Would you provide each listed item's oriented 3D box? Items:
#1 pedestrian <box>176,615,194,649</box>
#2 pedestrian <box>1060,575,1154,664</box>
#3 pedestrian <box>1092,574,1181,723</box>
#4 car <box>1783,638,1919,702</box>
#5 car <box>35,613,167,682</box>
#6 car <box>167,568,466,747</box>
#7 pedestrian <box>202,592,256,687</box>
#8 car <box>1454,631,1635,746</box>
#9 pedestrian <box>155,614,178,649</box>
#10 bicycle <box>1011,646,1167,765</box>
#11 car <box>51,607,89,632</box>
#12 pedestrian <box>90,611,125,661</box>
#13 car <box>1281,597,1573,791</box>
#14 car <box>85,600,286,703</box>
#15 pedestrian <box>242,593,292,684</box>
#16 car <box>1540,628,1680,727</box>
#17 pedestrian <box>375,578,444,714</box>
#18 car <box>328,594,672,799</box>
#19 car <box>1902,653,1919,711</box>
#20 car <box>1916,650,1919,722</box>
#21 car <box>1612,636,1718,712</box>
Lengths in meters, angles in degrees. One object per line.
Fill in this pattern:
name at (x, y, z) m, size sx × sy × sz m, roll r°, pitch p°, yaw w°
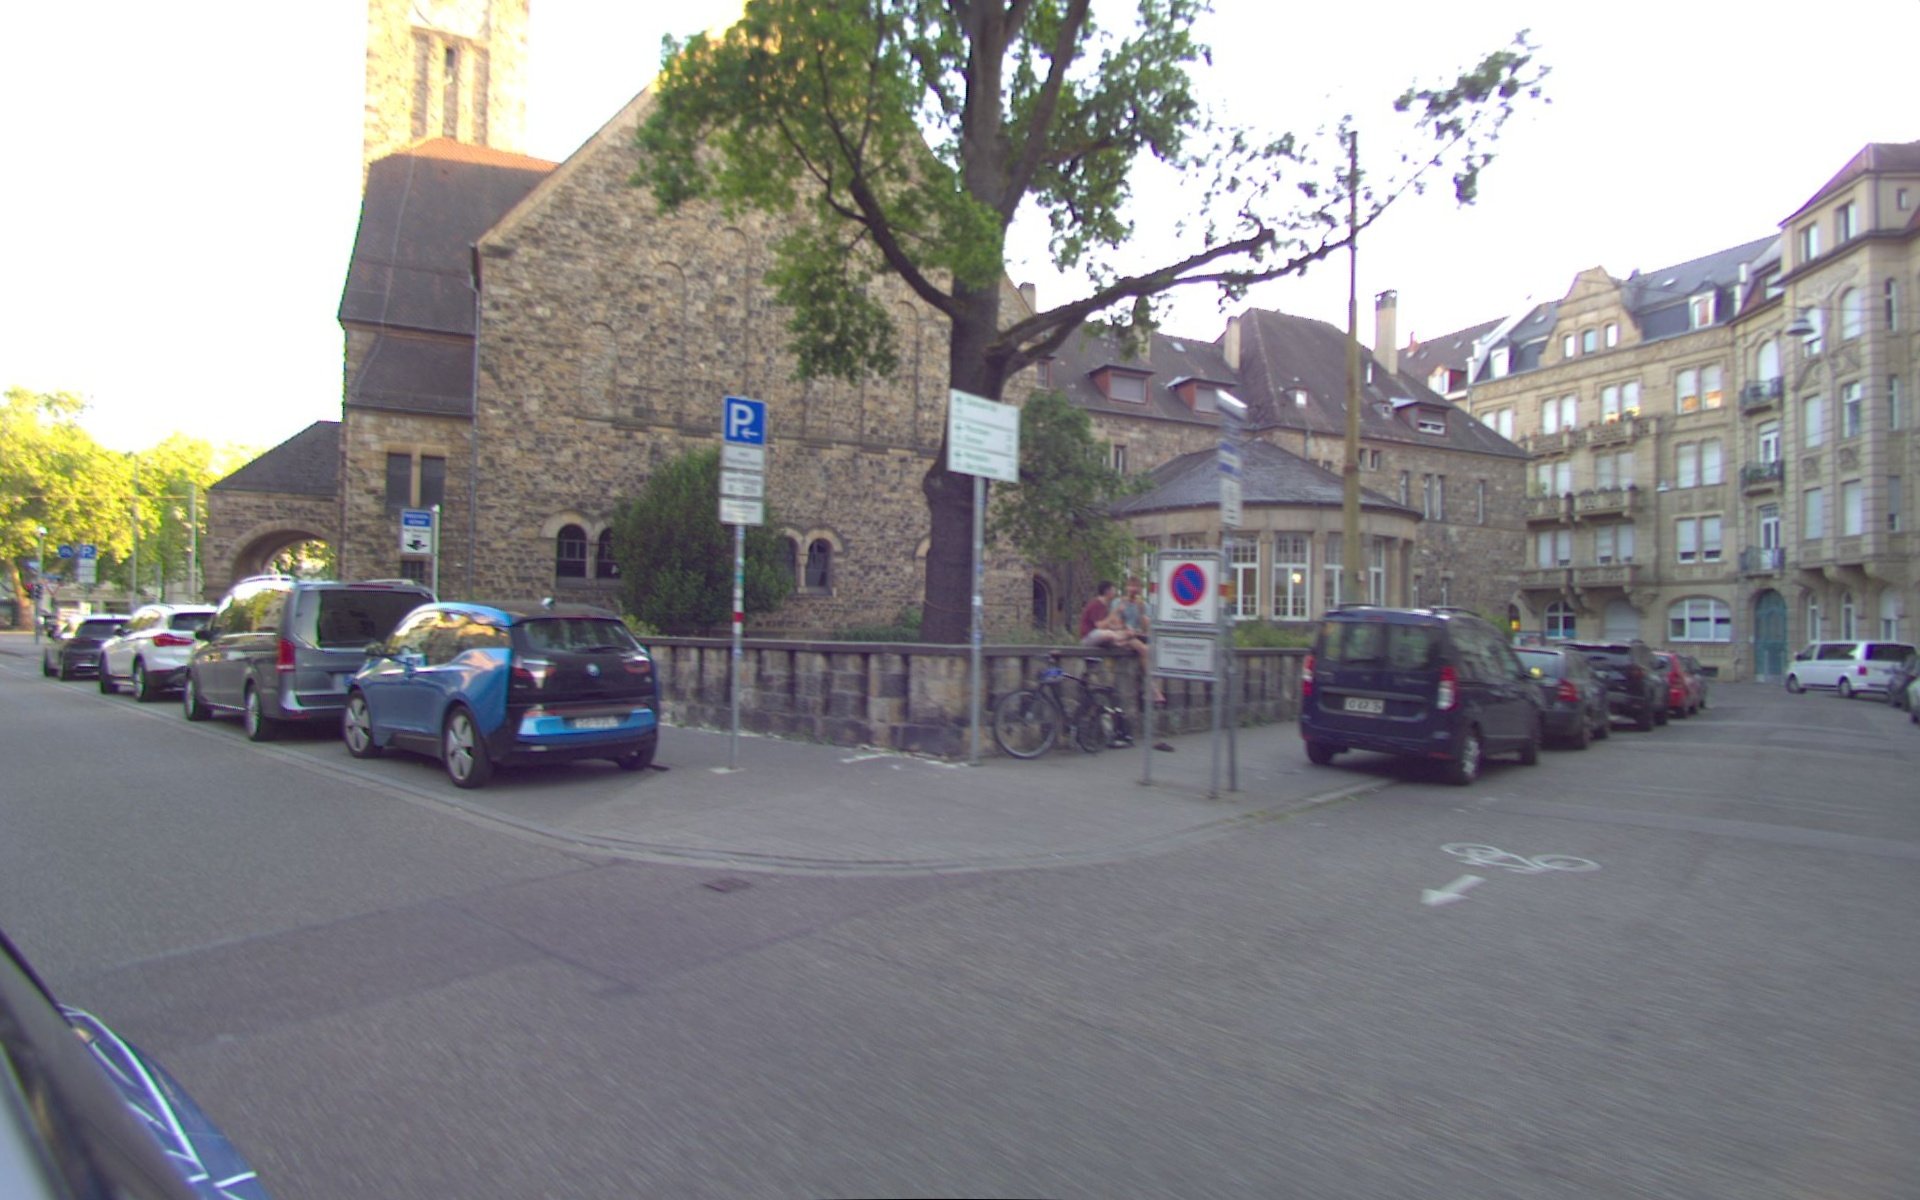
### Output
pedestrian at (-33.203, 1.374, 43.348) m, size 0.395 × 1.417 × 0.549 m, roll 1°, pitch -2°, yaw -14°
pedestrian at (1.714, 0.230, 11.773) m, size 0.836 × 0.988 × 0.699 m, roll -1°, pitch -3°, yaw 39°
pedestrian at (2.148, 0.580, 12.307) m, size 0.836 × 1.734 × 0.699 m, roll -1°, pitch -3°, yaw 39°
car at (30.171, 2.290, 34.170) m, size 1.793 × 1.874 × 5.139 m, roll 2°, pitch -1°, yaw 17°
car at (-19.724, 1.046, 23.170) m, size 4.315 × 1.446 × 1.764 m, roll -1°, pitch -3°, yaw 43°
car at (-8.543, 0.663, 13.192) m, size 5.289 × 1.881 × 1.972 m, roll -1°, pitch -2°, yaw 43°
pedestrian at (-15.105, 0.808, 20.917) m, size 0.890 × 1.894 × 0.640 m, roll -1°, pitch -2°, yaw 38°
car at (9.122, 1.271, 15.646) m, size 1.720 × 1.511 × 4.156 m, roll -1°, pitch -2°, yaw 40°
pedestrian at (-33.747, 1.343, 43.044) m, size 0.541 × 1.464 × 0.559 m, roll 1°, pitch -2°, yaw -14°
bicycle at (1.425, 1.066, 10.793) m, size 0.555 × 1.142 × 2.116 m, roll -1°, pitch -3°, yaw 42°
car at (-75.186, 1.649, 85.515) m, size 1.837 × 2.029 × 3.820 m, roll 2°, pitch -2°, yaw -34°
pedestrian at (-30.239, 1.276, 35.898) m, size 0.689 × 1.738 × 0.708 m, roll 0°, pitch -2°, yaw 31°
car at (5.539, 0.980, 11.773) m, size 1.892 × 1.858 × 3.942 m, roll -1°, pitch -3°, yaw 44°
car at (-13.775, 0.857, 17.912) m, size 4.464 × 1.604 × 1.852 m, roll -1°, pitch -2°, yaw 40°
pedestrian at (-14.758, 0.812, 21.554) m, size 0.987 × 1.870 × 0.567 m, roll -1°, pitch -2°, yaw 38°
car at (12.481, 1.393, 19.313) m, size 1.720 × 1.665 × 4.156 m, roll -1°, pitch -2°, yaw 40°
pedestrian at (-8.040, 0.662, 14.779) m, size 0.802 × 1.920 × 0.576 m, roll -1°, pitch -3°, yaw 38°
car at (-4.547, 0.760, 9.714) m, size 4.004 × 1.567 × 1.622 m, roll -1°, pitch -1°, yaw 43°
car at (27.826, 2.336, 28.482) m, size 1.739 × 1.559 × 3.741 m, roll 2°, pitch -1°, yaw 41°
car at (21.305, 1.884, 21.137) m, size 1.739 × 1.559 × 4.094 m, roll 2°, pitch -1°, yaw 41°
car at (16.263, 1.639, 23.280) m, size 1.632 × 1.583 × 3.983 m, roll -1°, pitch -2°, yaw 40°
